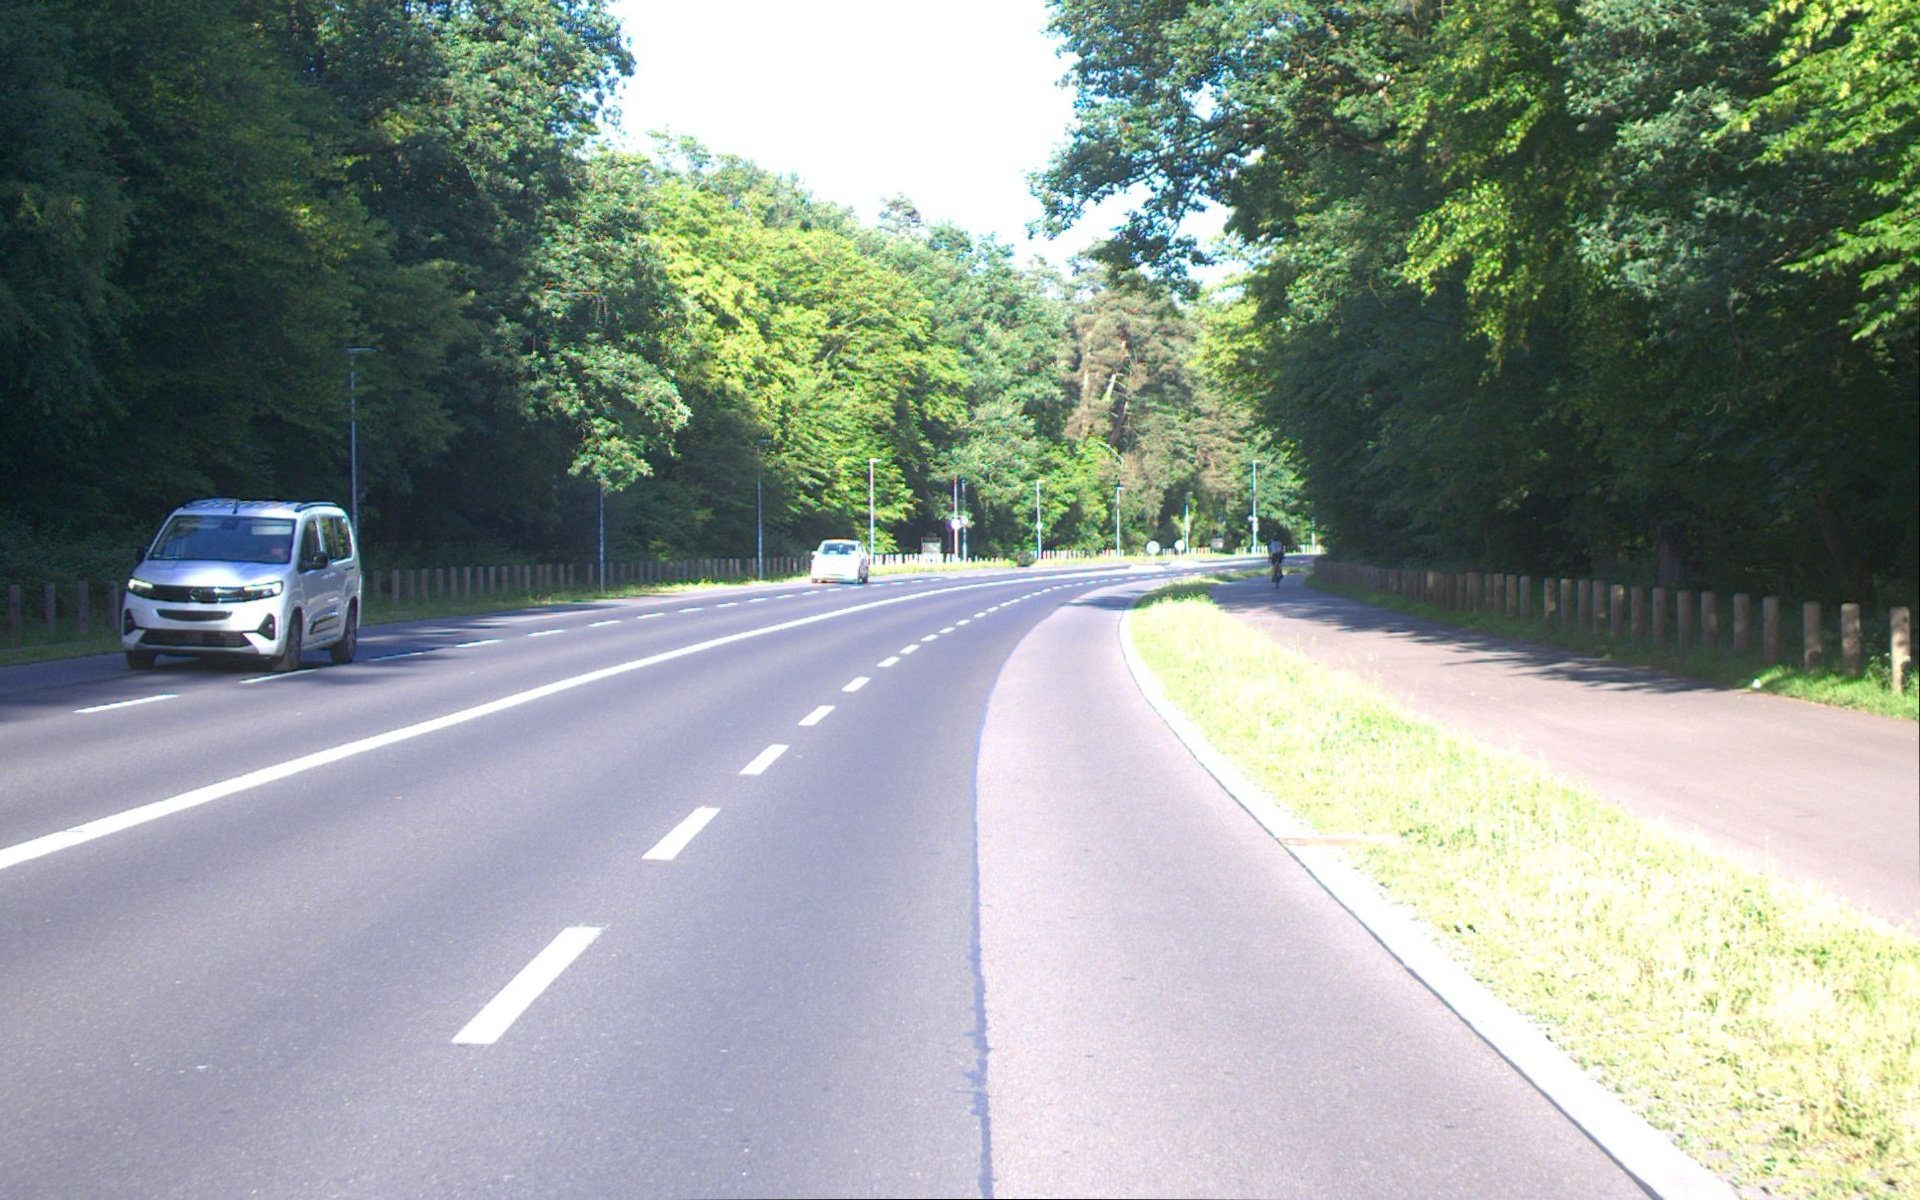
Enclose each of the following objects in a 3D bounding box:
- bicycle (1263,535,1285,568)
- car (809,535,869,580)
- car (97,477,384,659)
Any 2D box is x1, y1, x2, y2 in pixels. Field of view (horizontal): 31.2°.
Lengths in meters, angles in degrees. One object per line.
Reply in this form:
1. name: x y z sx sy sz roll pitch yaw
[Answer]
1. bicycle: 10.311 -1.589 112.758 0.712 1.052 2.052 0 1 6
2. car: -4.100 -1.472 117.174 1.587 1.432 4.308 2 1 3
3. car: -7.872 -0.377 38.083 2.001 1.820 4.999 2 1 1
